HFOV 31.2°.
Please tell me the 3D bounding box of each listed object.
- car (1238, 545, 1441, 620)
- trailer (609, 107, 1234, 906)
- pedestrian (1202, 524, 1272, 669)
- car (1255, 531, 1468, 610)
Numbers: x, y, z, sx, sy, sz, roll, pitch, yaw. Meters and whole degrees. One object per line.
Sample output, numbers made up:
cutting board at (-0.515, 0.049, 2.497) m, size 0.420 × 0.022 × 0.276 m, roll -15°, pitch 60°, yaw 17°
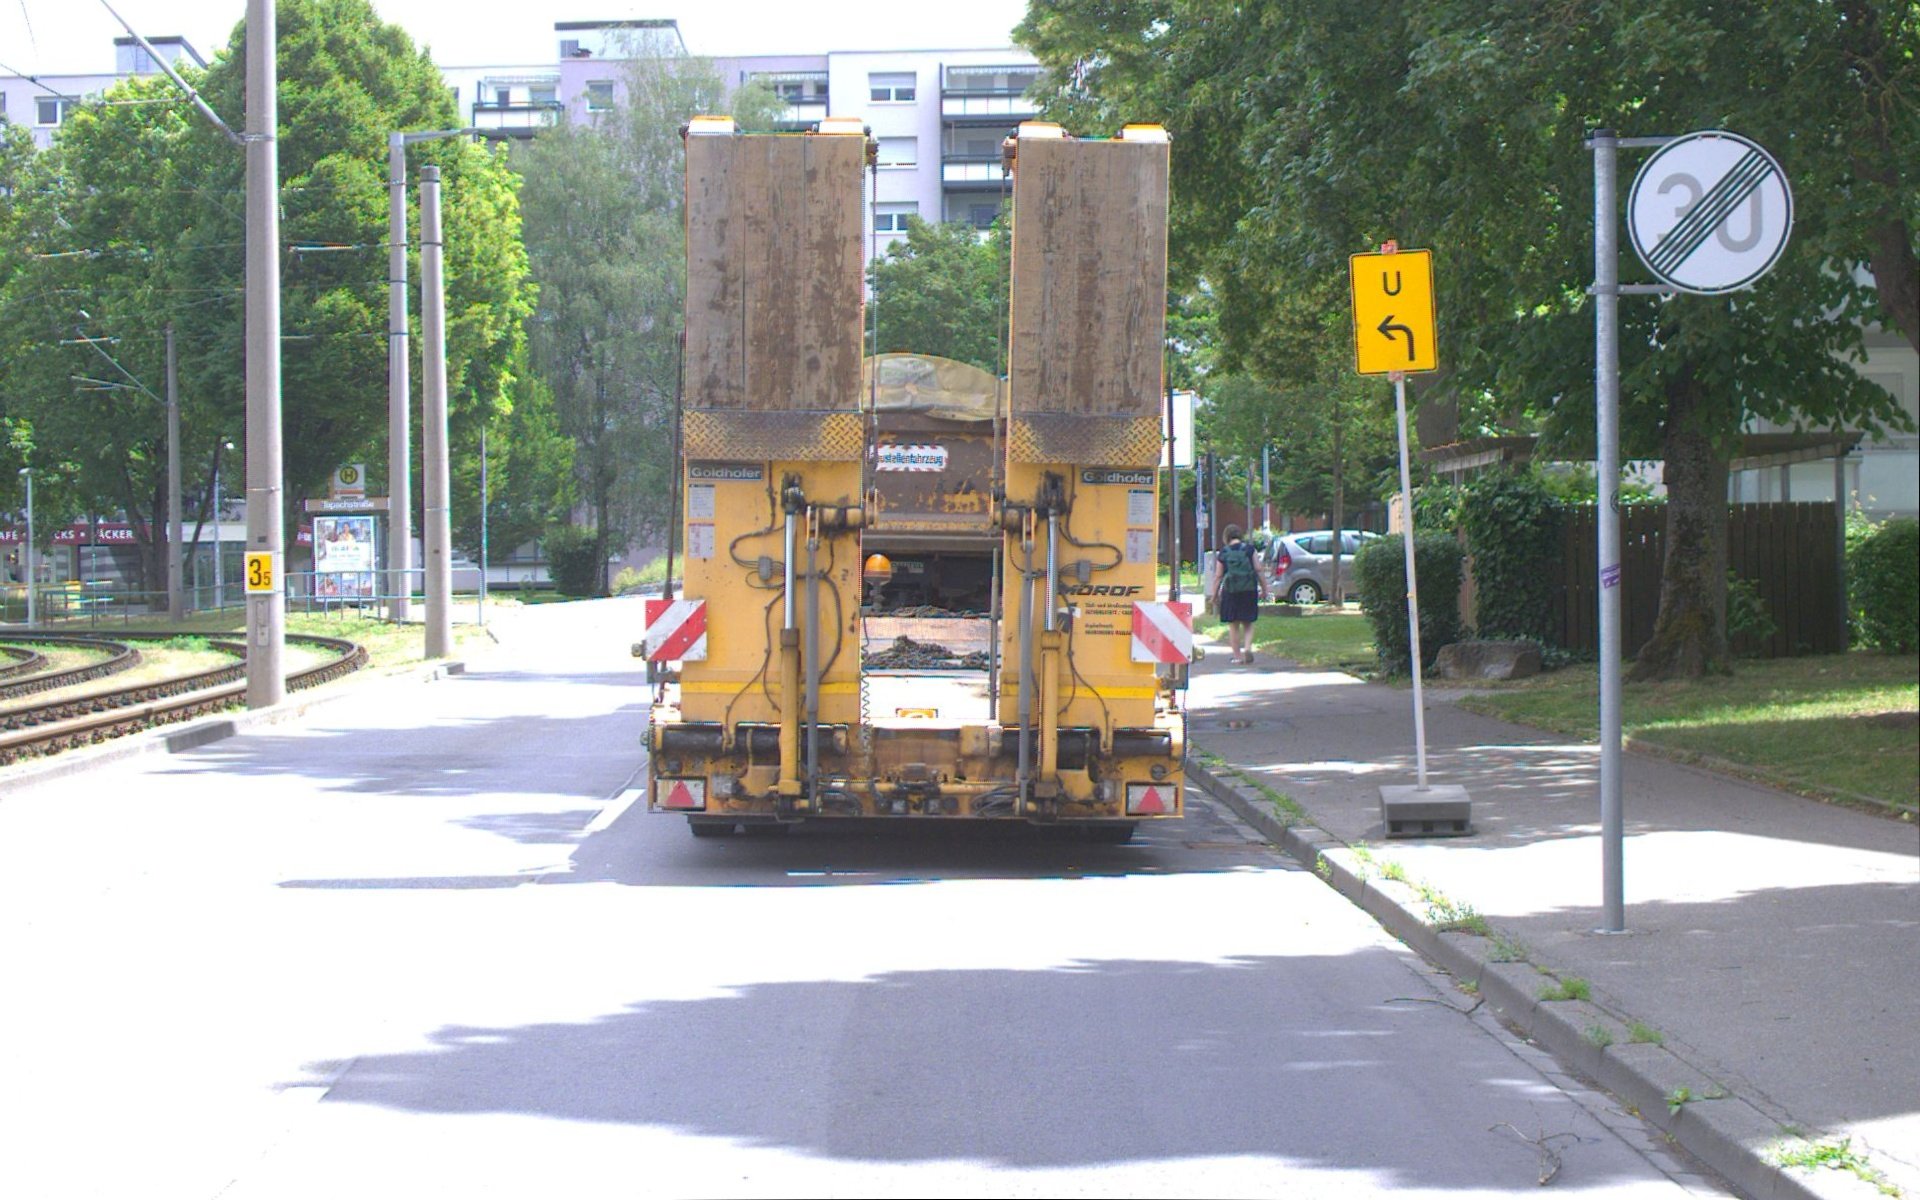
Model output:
car at (8.180, -0.376, 74.291) m, size 3.986 × 1.556 × 1.760 m, roll 1°, pitch 1°, yaw -13°
trailer at (-0.508, -0.497, 22.012) m, size 2.827 × 3.633 × 12.355 m, roll 1°, pitch 1°, yaw -3°
pedestrian at (3.306, -0.047, 41.095) m, size 0.718 × 1.700 × 0.766 m, roll -2°, pitch 1°, yaw -1°
car at (8.259, -0.613, 70.906) m, size 3.986 × 1.556 × 1.760 m, roll 1°, pitch 1°, yaw -13°
